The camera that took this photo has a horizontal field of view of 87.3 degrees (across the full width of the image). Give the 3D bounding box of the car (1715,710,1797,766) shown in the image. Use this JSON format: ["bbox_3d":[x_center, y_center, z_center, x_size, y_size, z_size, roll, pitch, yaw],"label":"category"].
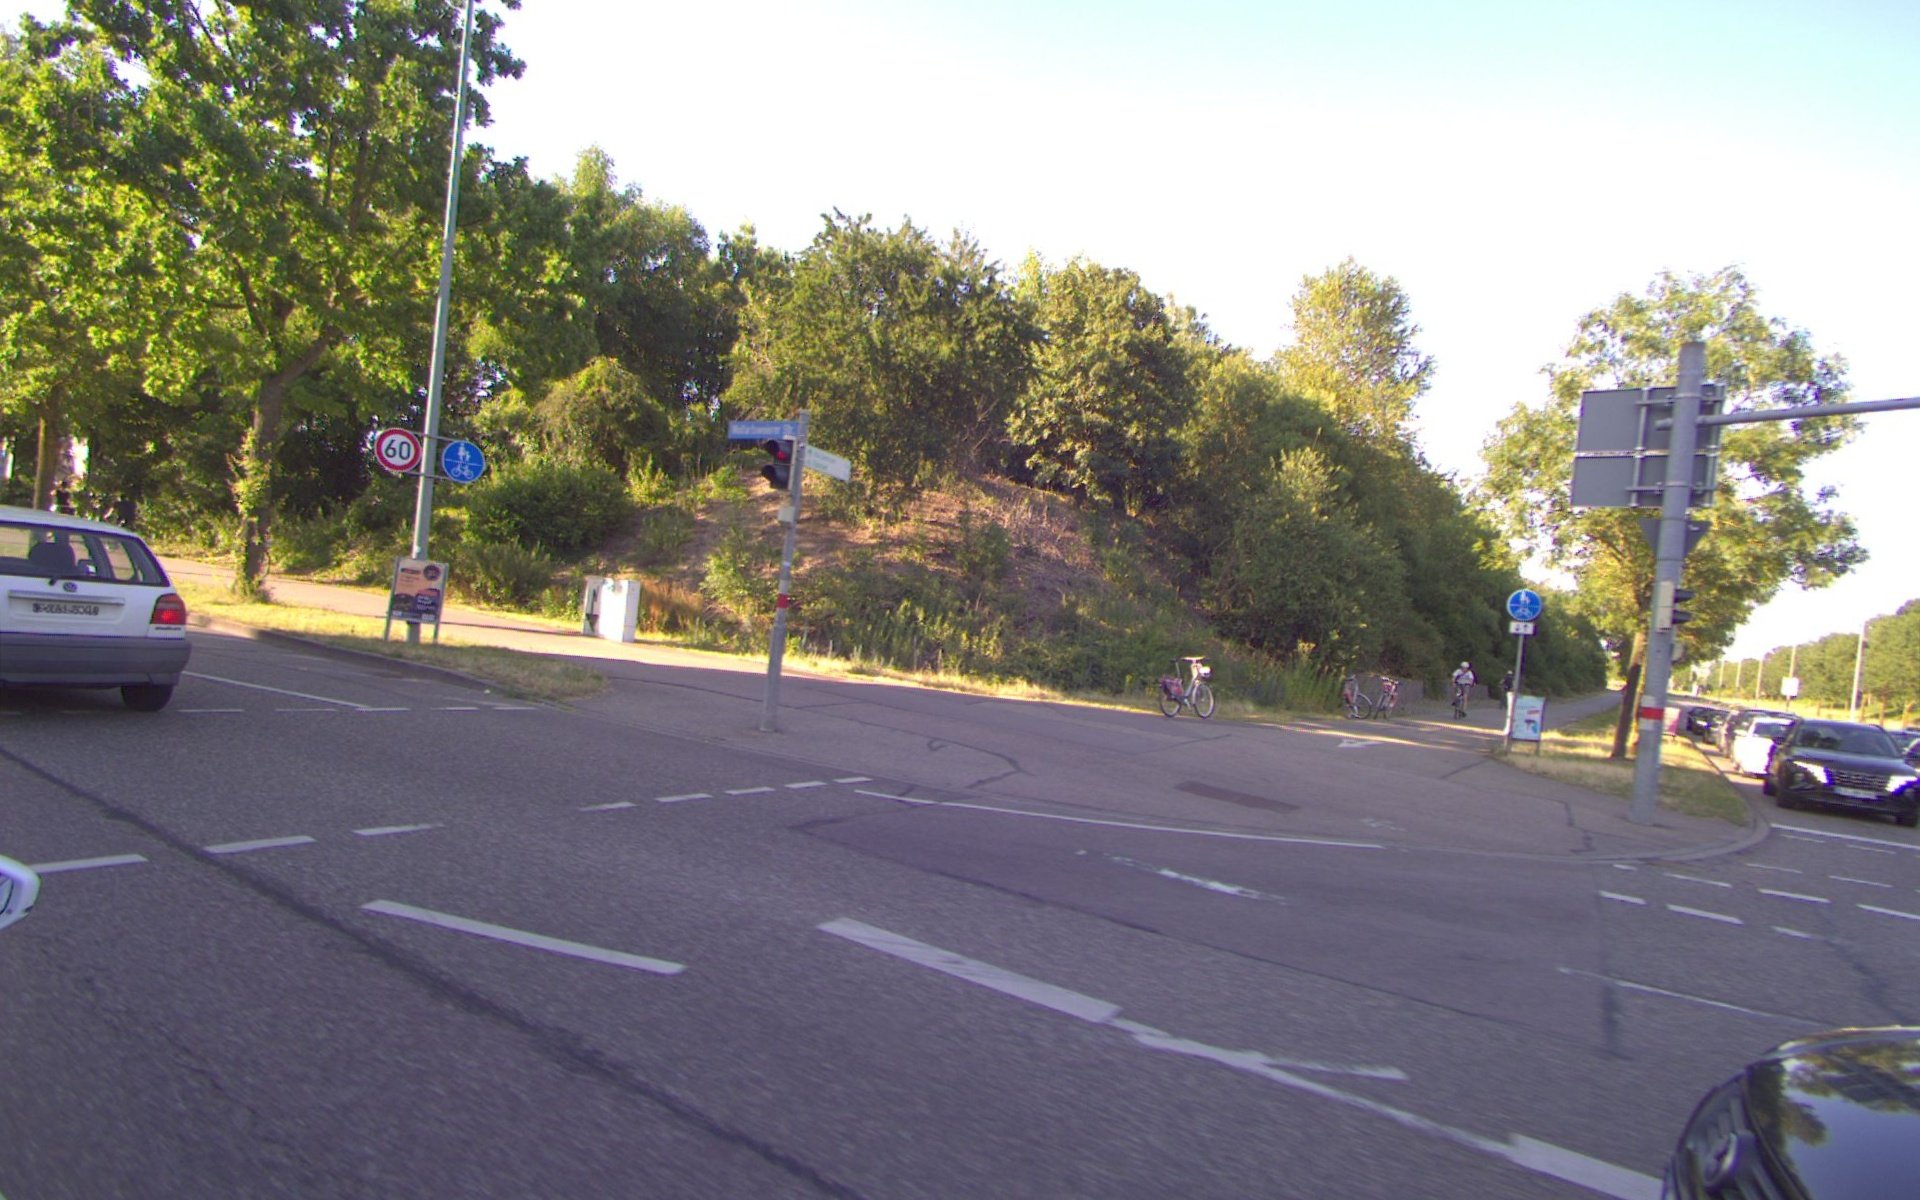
[{"bbox_3d":[28.182,4.878,35.735,2.010,1.586,4.329,5,-2,37],"label":"car"}]

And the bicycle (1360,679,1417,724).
[{"bbox_3d":[11.149,2.647,26.131,1.788,0.992,0.631,9,-1,-45],"label":"bicycle"}]

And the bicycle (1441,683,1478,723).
[{"bbox_3d":[15.842,3.269,31.899,0.808,1.125,2.017,6,-2,31],"label":"bicycle"}]

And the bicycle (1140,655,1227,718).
[{"bbox_3d":[4.074,1.586,18.261,1.656,1.004,0.571,6,3,-42],"label":"bicycle"}]

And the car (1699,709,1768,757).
[{"bbox_3d":[31.365,5.379,40.858,2.010,1.586,4.329,5,-2,37],"label":"car"}]

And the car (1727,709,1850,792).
[{"bbox_3d":[20.265,3.643,24.788,2.010,1.586,4.329,5,-2,37],"label":"car"}]

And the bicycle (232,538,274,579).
[{"bbox_3d":[-17.386,-1.022,24.722,1.010,0.926,0.437,6,2,32],"label":"bicycle"}]

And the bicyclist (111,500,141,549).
[{"bbox_3d":[-23.898,-2.170,28.827,0.452,1.324,0.428,6,-1,31],"label":"bicyclist"}]

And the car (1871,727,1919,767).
[{"bbox_3d":[60.358,9.407,64.583,1.968,2.204,3.993,6,-2,33],"label":"car"}]

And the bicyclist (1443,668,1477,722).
[{"bbox_3d":[15.862,3.008,31.904,0.780,1.613,0.858,6,-1,31],"label":"bicyclist"}]

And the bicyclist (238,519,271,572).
[{"bbox_3d":[-17.327,-1.337,24.706,0.452,1.248,0.428,6,1,31],"label":"bicyclist"}]

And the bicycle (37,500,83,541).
[{"bbox_3d":[-28.216,-2.493,31.541,1.595,1.125,0.565,6,-1,32],"label":"bicycle"}]

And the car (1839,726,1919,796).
[{"bbox_3d":[25.198,4.319,26.956,2.010,1.586,4.329,5,-2,37],"label":"car"}]

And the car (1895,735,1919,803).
[{"bbox_3d":[21.867,3.775,21.650,2.010,1.423,4.329,5,-3,37],"label":"car"}]

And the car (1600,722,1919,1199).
[{"bbox_3d":[3.035,1.131,1.220,3.621,1.426,1.620,6,-2,30],"label":"car"}]

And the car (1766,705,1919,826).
[{"bbox_3d":[16.035,2.920,18.332,1.835,1.713,3.988,5,-2,37],"label":"car"}]

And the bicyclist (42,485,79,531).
[{"bbox_3d":[-28.224,-2.873,31.572,0.821,1.331,0.544,6,-1,31],"label":"bicyclist"}]

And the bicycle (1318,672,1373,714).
[{"bbox_3d":[10.343,2.499,26.960,0.631,0.992,1.788,5,-2,45],"label":"bicycle"}]

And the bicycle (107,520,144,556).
[{"bbox_3d":[-23.880,-1.787,28.794,1.010,0.925,0.438,6,-1,32],"label":"bicycle"}]

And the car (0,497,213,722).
[{"bbox_3d":[-7.653,-0.069,7.699,3.994,1.430,1.582,6,-2,31],"label":"car"}]

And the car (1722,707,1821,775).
[{"bbox_3d":[24.014,4.151,29.913,2.010,1.586,4.329,5,-2,37],"label":"car"}]
